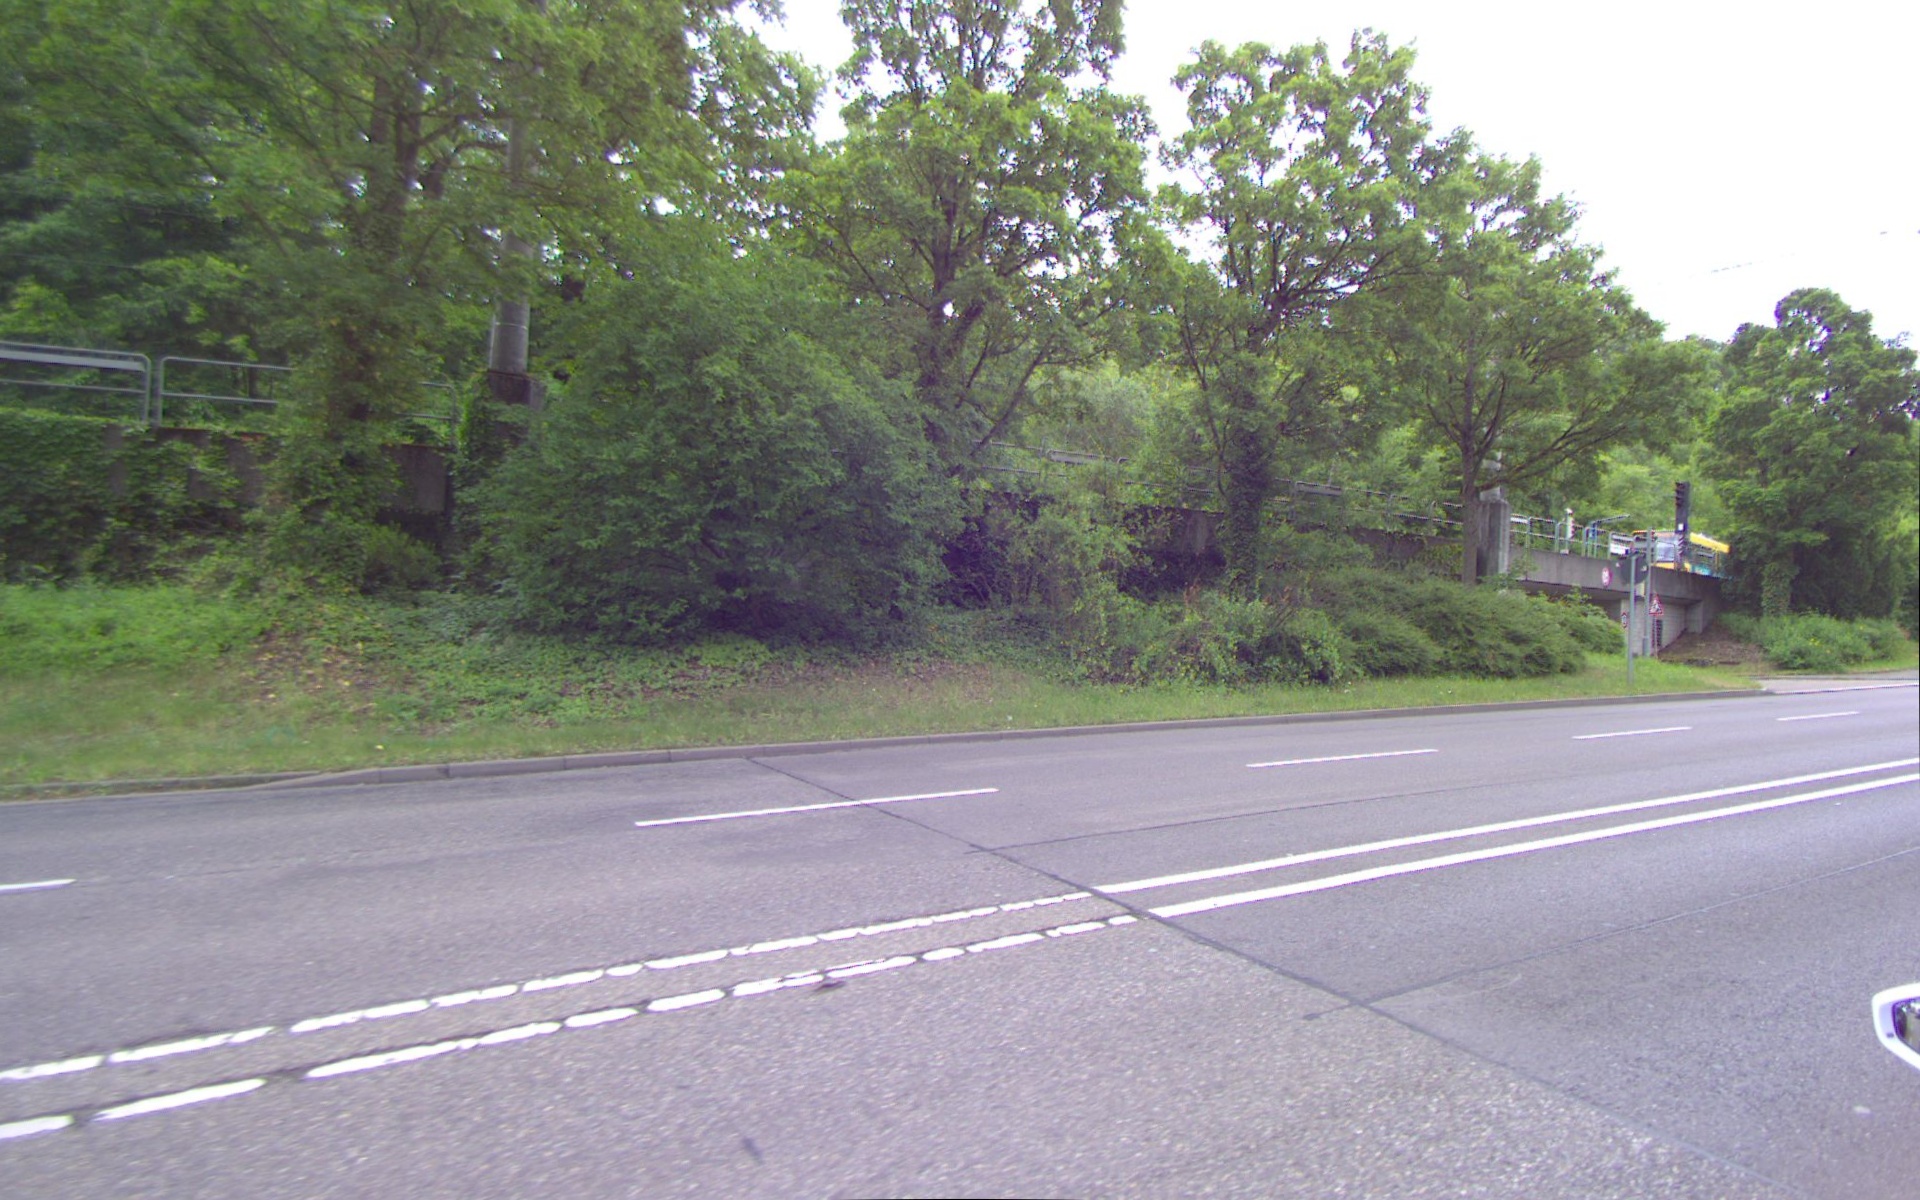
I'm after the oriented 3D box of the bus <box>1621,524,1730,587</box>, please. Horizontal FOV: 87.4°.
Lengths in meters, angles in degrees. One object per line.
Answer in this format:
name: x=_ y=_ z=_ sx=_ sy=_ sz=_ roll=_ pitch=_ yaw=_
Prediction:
bus: x=39.548 y=-2.375 z=55.435 sx=7.867 sy=2.825 sz=2.523 roll=3 pitch=-2 yaw=-36
